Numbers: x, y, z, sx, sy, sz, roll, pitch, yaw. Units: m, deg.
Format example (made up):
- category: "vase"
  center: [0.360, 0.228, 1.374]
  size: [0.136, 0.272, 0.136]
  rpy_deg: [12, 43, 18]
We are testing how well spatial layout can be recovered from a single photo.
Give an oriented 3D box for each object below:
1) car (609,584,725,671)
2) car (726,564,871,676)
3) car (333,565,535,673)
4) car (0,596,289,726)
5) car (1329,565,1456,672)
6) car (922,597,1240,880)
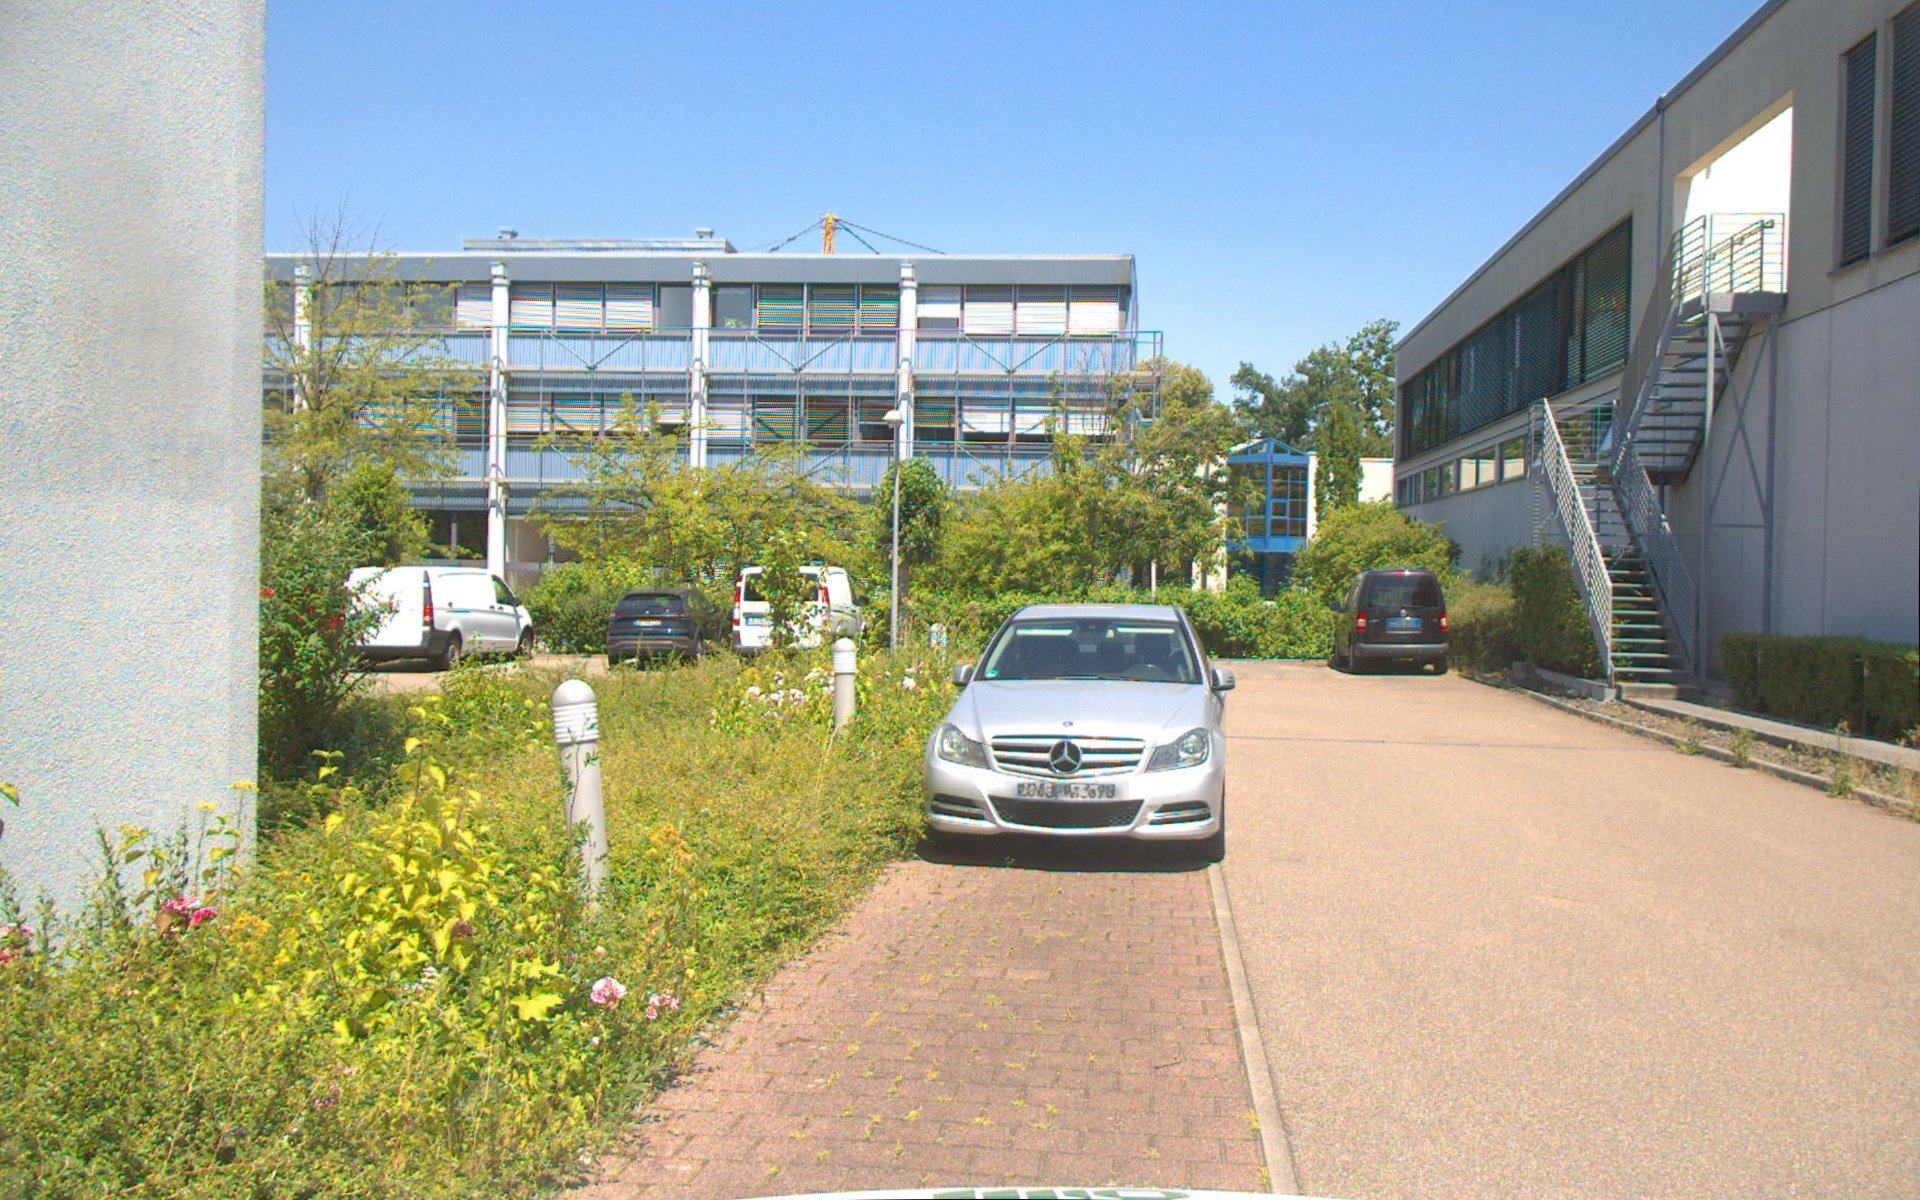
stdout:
- category: "car"
  center: [-5.607, 0.479, 32.075]
  size: [1.719, 1.502, 3.998]
  rpy_deg: [0, 1, -3]
- category: "car"
  center: [-2.945, 0.292, 31.212]
  size: [1.872, 1.938, 4.811]
  rpy_deg: [0, 1, 5]
- category: "car"
  center: [-10.045, 0.286, 32.036]
  size: [1.841, 1.924, 4.808]
  rpy_deg: [0, 1, 8]
- category: "car"
  center: [-10.966, 0.726, 22.100]
  size: [1.818, 1.498, 4.487]
  rpy_deg: [0, 1, 6]
- category: "car"
  center: [8.008, 0.298, 30.928]
  size: [1.706, 1.869, 4.003]
  rpy_deg: [0, 1, 6]
- category: "car"
  center: [0.958, 0.727, 10.856]
  size: [1.692, 1.482, 4.151]
  rpy_deg: [0, 0, 9]
